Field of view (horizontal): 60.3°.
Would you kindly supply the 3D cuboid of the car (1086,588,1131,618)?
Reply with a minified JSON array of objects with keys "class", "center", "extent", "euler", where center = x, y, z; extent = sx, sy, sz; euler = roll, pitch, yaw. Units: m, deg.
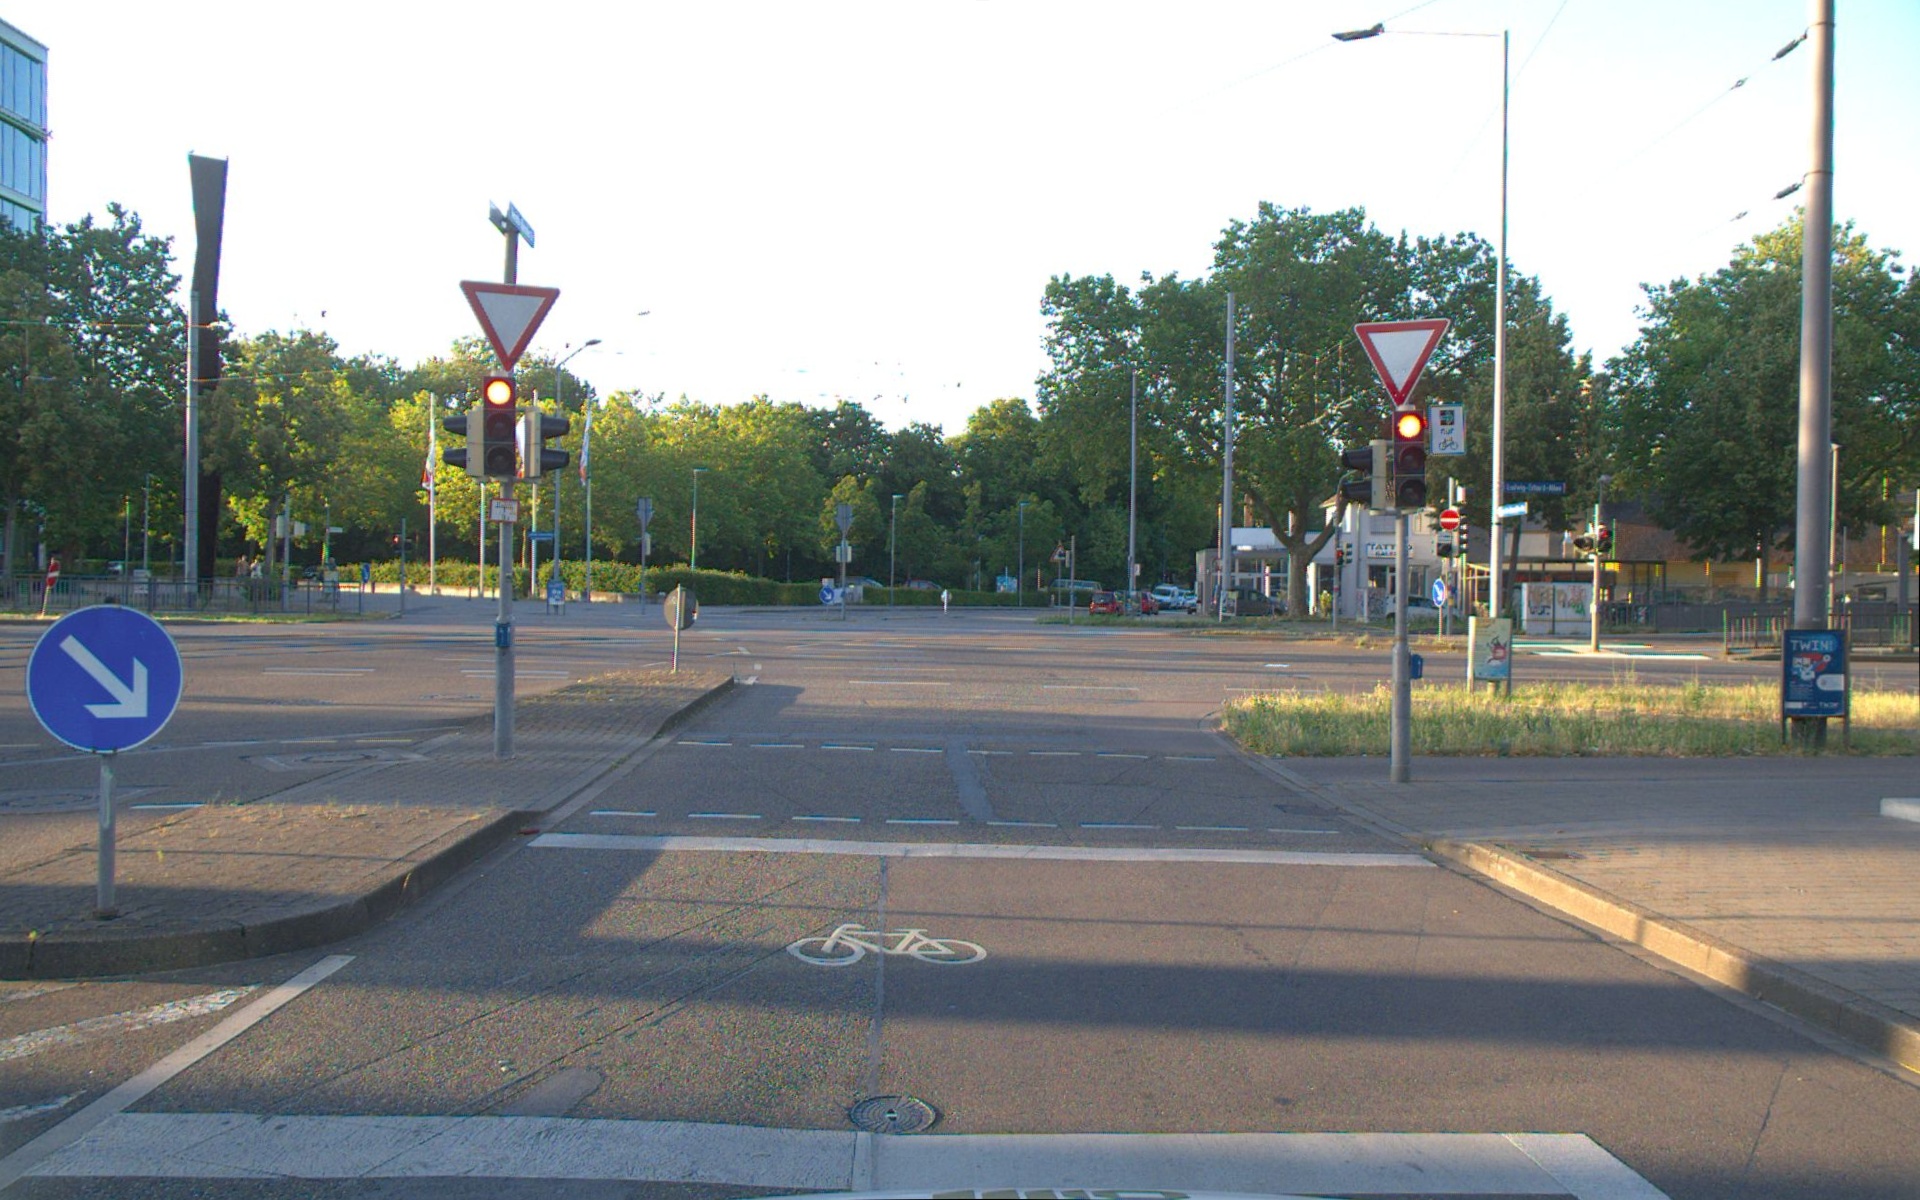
[{"class":"car","center":[8.632,0.198,95.810],"extent":[1.951,1.691,4.003],"euler":[0,-1,14]}]

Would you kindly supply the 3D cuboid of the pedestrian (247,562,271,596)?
[{"class":"pedestrian","center":[-36.952,-1.093,87.194],"extent":[0.843,1.774,0.829],"euler":[1,0,27]}]

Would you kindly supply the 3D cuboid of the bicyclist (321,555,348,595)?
[{"class":"bicyclist","center":[-27.405,-1.093,72.451],"extent":[0.904,1.739,0.748],"euler":[1,0,43]}]

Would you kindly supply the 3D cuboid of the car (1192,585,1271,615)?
[{"class":"car","center":[14.663,0.003,89.385],"extent":[4.129,1.579,2.001],"euler":[1,-1,7]}]

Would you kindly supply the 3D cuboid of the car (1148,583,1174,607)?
[{"class":"car","center":[16.011,-0.392,131.433],"extent":[1.823,1.825,4.003],"euler":[1,-1,10]}]

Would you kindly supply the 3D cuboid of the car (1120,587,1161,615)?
[{"class":"car","center":[11.330,0.070,103.539],"extent":[1.951,1.691,4.003],"euler":[0,-1,14]}]

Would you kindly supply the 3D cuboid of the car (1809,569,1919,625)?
[{"class":"car","center":[43.700,-0.139,78.665],"extent":[5.476,2.596,2.231],"euler":[1,0,7]}]

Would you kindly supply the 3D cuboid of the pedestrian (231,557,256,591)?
[{"class":"pedestrian","center":[-37.441,-1.357,86.448],"extent":[0.843,1.774,0.830],"euler":[1,0,24]}]

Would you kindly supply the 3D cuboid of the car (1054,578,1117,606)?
[{"class":"car","center":[9.521,-0.618,126.024],"extent":[4.675,2.041,2.000],"euler":[1,-1,1]}]

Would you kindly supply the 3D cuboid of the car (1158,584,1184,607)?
[{"class":"car","center":[17.421,-0.383,136.349],"extent":[1.823,1.825,4.003],"euler":[0,-1,12]}]

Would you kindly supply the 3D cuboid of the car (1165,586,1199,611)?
[{"class":"car","center":[15.566,-0.090,115.831],"extent":[1.951,1.691,4.003],"euler":[0,-1,14]}]

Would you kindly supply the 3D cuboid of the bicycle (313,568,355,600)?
[{"class":"bicycle","center":[-27.438,-0.711,72.465],"extent":[0.727,1.364,2.647],"euler":[0,1,-44]}]

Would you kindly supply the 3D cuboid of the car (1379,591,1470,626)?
[{"class":"car","center":[20.369,0.367,72.571],"extent":[3.659,1.465,1.665],"euler":[1,-1,9]}]
